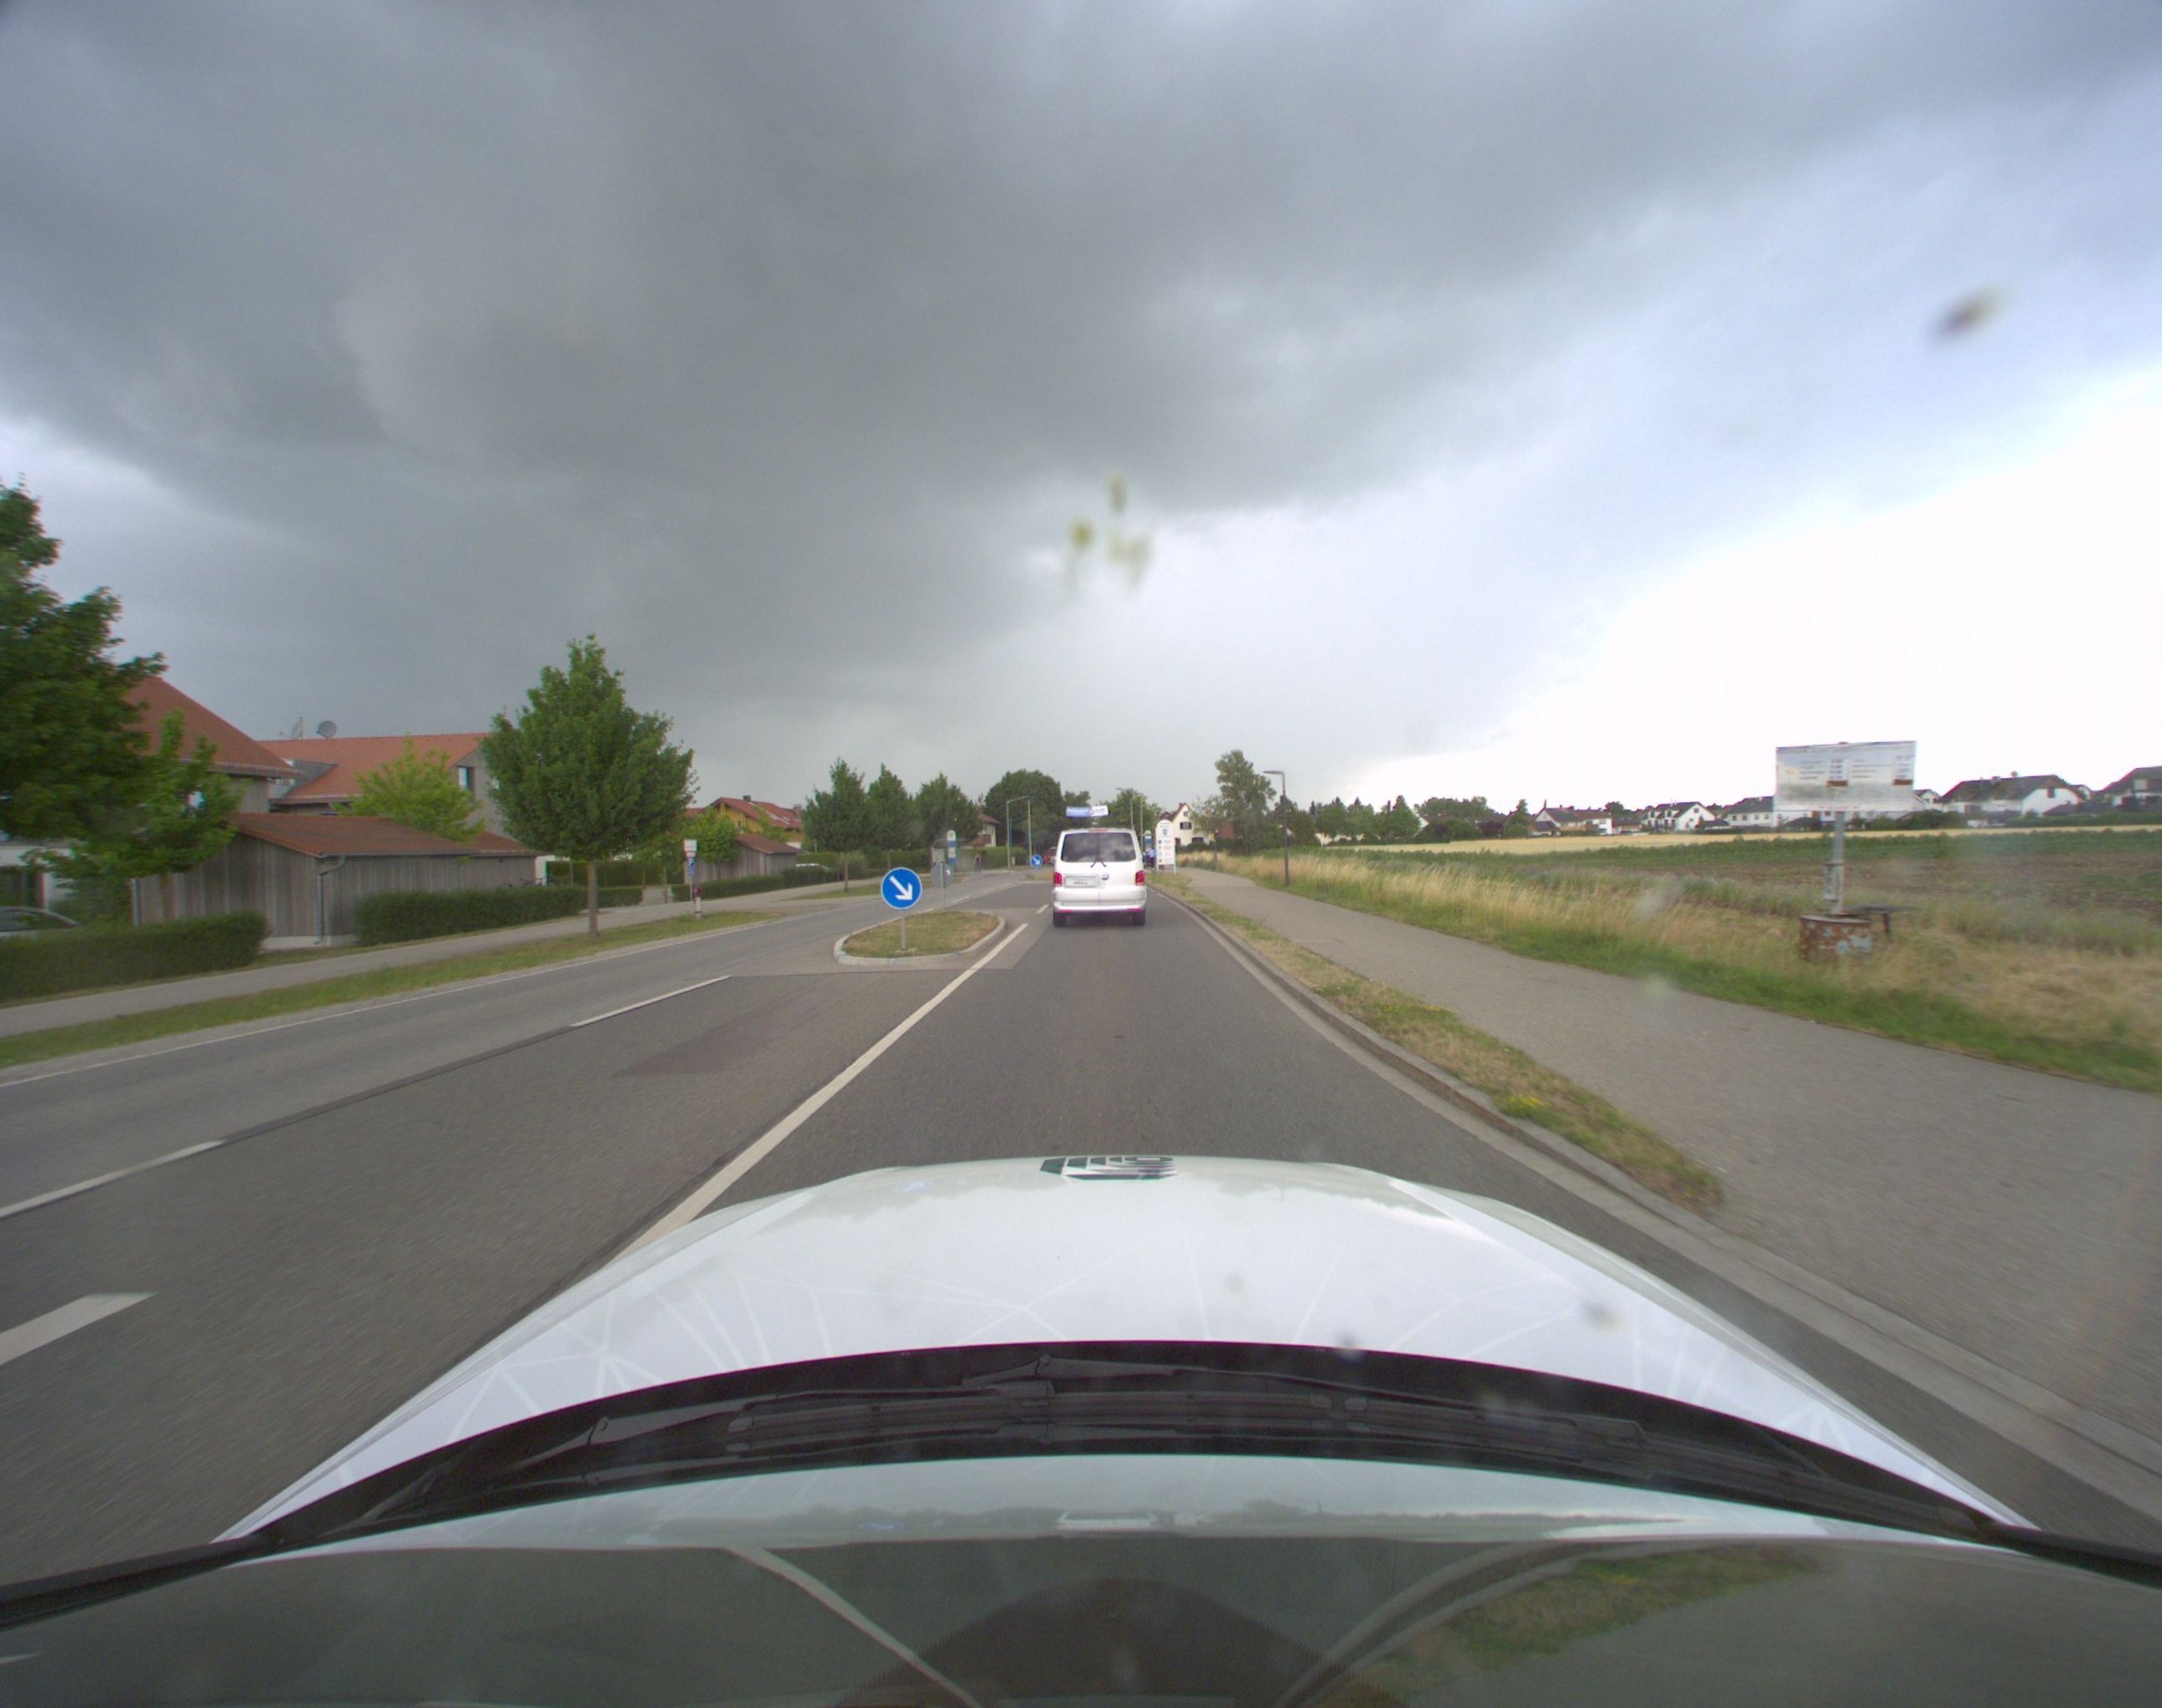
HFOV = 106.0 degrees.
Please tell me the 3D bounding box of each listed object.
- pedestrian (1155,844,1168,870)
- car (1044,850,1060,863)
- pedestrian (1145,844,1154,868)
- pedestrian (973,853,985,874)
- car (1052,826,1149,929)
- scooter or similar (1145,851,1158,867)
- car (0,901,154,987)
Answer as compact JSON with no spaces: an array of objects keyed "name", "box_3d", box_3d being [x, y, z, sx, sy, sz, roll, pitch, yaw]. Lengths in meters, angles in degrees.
[{"name":"pedestrian","box_3d":[5.350,0.203,54.170,0.488,1.732,0.637,-4,0,-26]},{"name":"car","box_3d":[-3.550,0.308,101.357,1.647,1.429,3.604,-4,0,2]},{"name":"pedestrian","box_3d":[4.983,0.156,59.009,0.483,1.732,0.642,-4,0,1]},{"name":"pedestrian","box_3d":[-7.493,0.700,59.805,0.621,1.524,0.680,-4,0,1]},{"name":"car","box_3d":[0.389,0.422,17.456,1.819,1.913,4.000,-1,0,0]},{"name":"scooter or similar","box_3d":[5.167,0.351,59.998,0.845,1.103,1.095,-4,0,2]},{"name":"car","box_3d":[-22.493,1.844,17.036,3.970,1.556,2.002,-1,1,3]}]
